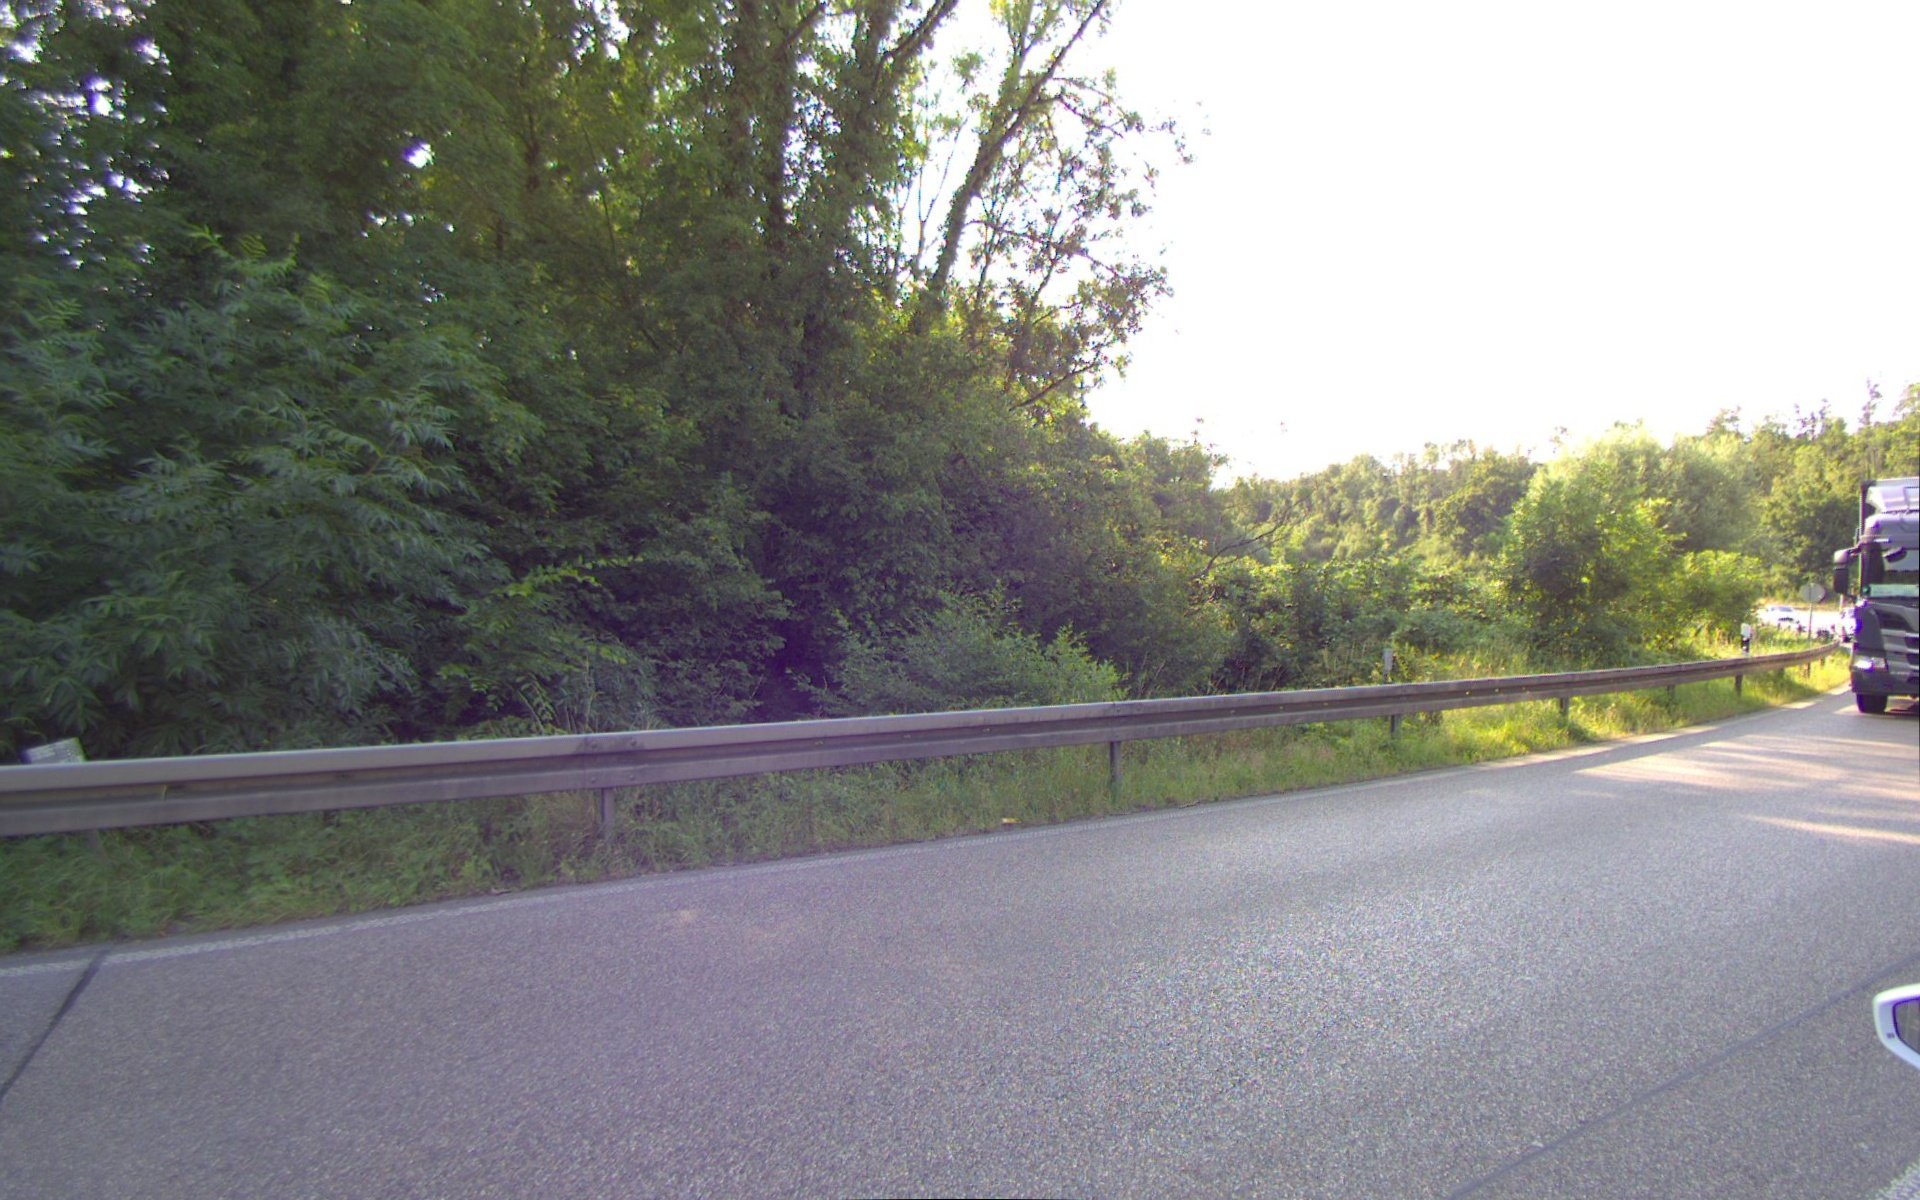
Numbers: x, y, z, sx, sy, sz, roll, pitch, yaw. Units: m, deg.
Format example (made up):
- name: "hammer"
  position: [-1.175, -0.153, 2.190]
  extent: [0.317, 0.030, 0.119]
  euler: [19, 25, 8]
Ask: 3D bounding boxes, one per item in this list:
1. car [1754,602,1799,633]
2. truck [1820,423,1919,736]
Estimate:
- name: "car"
  position: [54.543, 1.138, 67.170]
  extent: [1.842, 1.876, 3.989]
  euler: [3, 2, 33]
- name: "truck"
  position: [18.148, -0.200, 18.166]
  extent: [10.173, 4.646, 2.982]
  euler: [1, 0, -45]
